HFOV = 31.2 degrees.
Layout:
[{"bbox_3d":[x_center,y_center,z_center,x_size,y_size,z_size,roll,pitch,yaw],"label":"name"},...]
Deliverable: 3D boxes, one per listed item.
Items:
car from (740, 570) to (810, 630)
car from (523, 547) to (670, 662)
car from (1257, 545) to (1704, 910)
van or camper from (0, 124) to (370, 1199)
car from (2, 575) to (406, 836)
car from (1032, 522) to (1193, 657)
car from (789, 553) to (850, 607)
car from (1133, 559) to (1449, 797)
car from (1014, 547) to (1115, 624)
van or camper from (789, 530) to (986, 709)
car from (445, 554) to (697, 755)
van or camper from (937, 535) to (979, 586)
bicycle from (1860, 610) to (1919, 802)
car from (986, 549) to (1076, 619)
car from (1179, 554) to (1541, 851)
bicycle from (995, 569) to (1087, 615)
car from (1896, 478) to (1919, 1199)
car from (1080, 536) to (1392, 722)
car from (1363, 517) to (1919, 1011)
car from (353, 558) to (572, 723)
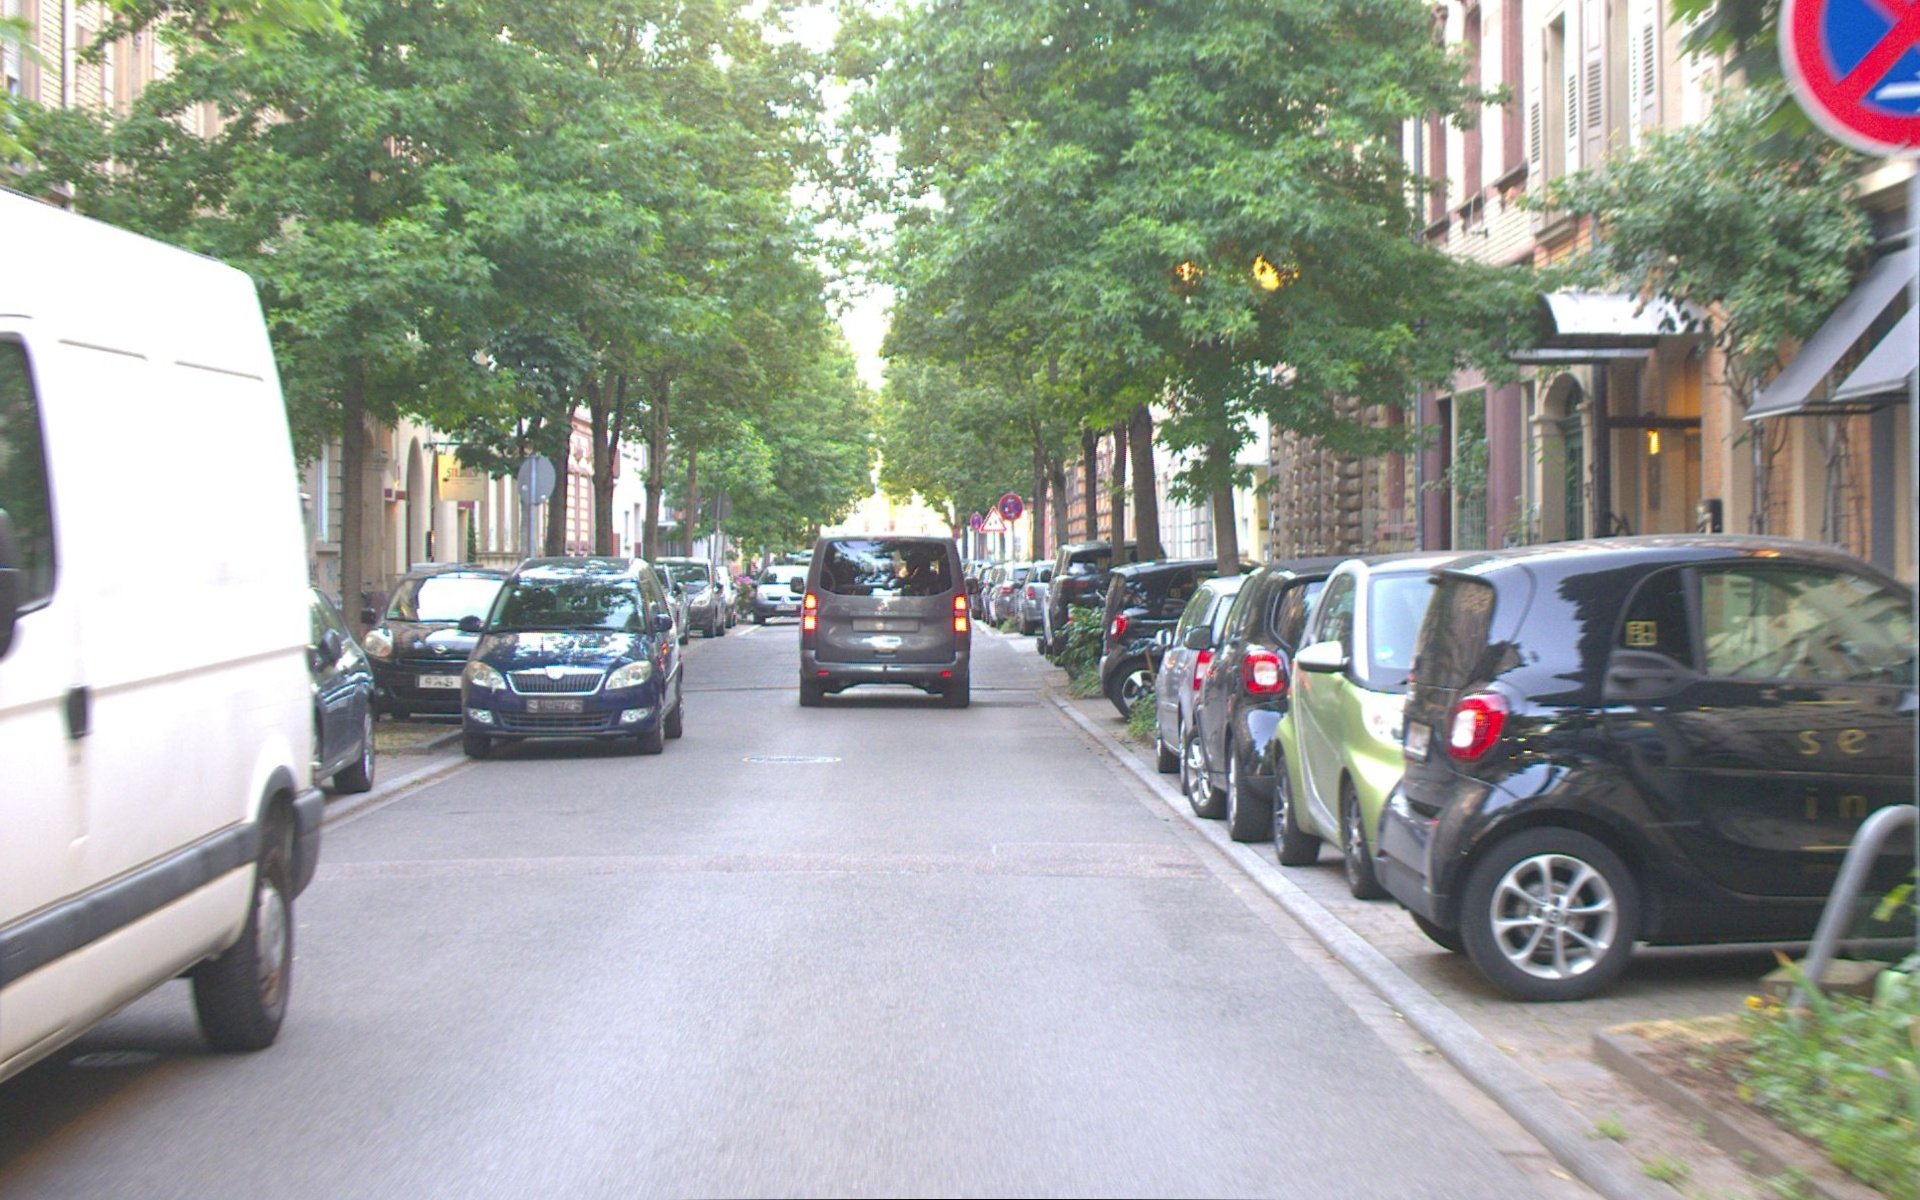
[{"bbox_3d":[-4.532,-0.017,84.718,1.580,1.415,3.753,-1,1,-1],"label":"car"},{"bbox_3d":[-5.274,0.033,50.237,1.676,1.602,3.861,0,1,1],"label":"car"},{"bbox_3d":[2.386,0.533,16.358,1.464,1.546,2.918,-1,1,-4],"label":"car"},{"bbox_3d":[-3.097,0.219,8.861,2.219,2.422,5.661,-1,1,-1],"label":"van or camper"},{"bbox_3d":[-4.668,0.587,21.809,1.767,1.457,4.259,0,1,-2],"label":"car"},{"bbox_3d":[2.223,-0.192,51.349,2.013,1.827,4.811,-3,1,-1],"label":"car"},{"bbox_3d":[-4.175,-0.604,101.983,1.663,1.558,4.001,-1,1,-4],"label":"car"},{"bbox_3d":[2.231,0.477,24.121,1.733,1.486,4.104,-1,1,-1],"label":"car"},{"bbox_3d":[2.075,-0.323,69.052,1.758,1.458,4.308,-1,1,-1],"label":"car"},{"bbox_3d":[-0.752,0.180,38.621,2.035,1.891,4.271,0,1,1],"label":"van or camper"},{"bbox_3d":[-3.248,0.405,29.391,1.723,1.568,4.220,-1,1,-1],"label":"car"},{"bbox_3d":[-0.140,-2.060,180.172,1.993,2.590,5.425,0,1,-2],"label":"van or camper"},{"bbox_3d":[5.641,0.586,19.188,0.686,1.032,1.950,-3,1,0],"label":"bicycle"},{"bbox_3d":[1.579,-0.385,77.963,1.716,1.471,4.369,-2,1,-3],"label":"car"},{"bbox_3d":[2.217,0.521,19.745,1.591,1.555,3.123,0,1,-2],"label":"car"},{"bbox_3d":[1.768,-0.180,75.067,1.915,0.978,0.638,-1,1,-22],"label":"bicycle"},{"bbox_3d":[2.499,0.654,3.232,1.939,1.625,4.454,0,1,-1],"label":"car"},{"bbox_3d":[2.651,0.264,33.516,2.797,1.594,1.801,-4,1,0],"label":"car"},{"bbox_3d":[2.914,0.512,12.193,2.714,1.568,1.526,-2,1,-1],"label":"car"},{"bbox_3d":[-4.796,0.351,33.564,1.691,1.496,3.712,1,1,-2],"label":"car"}]
